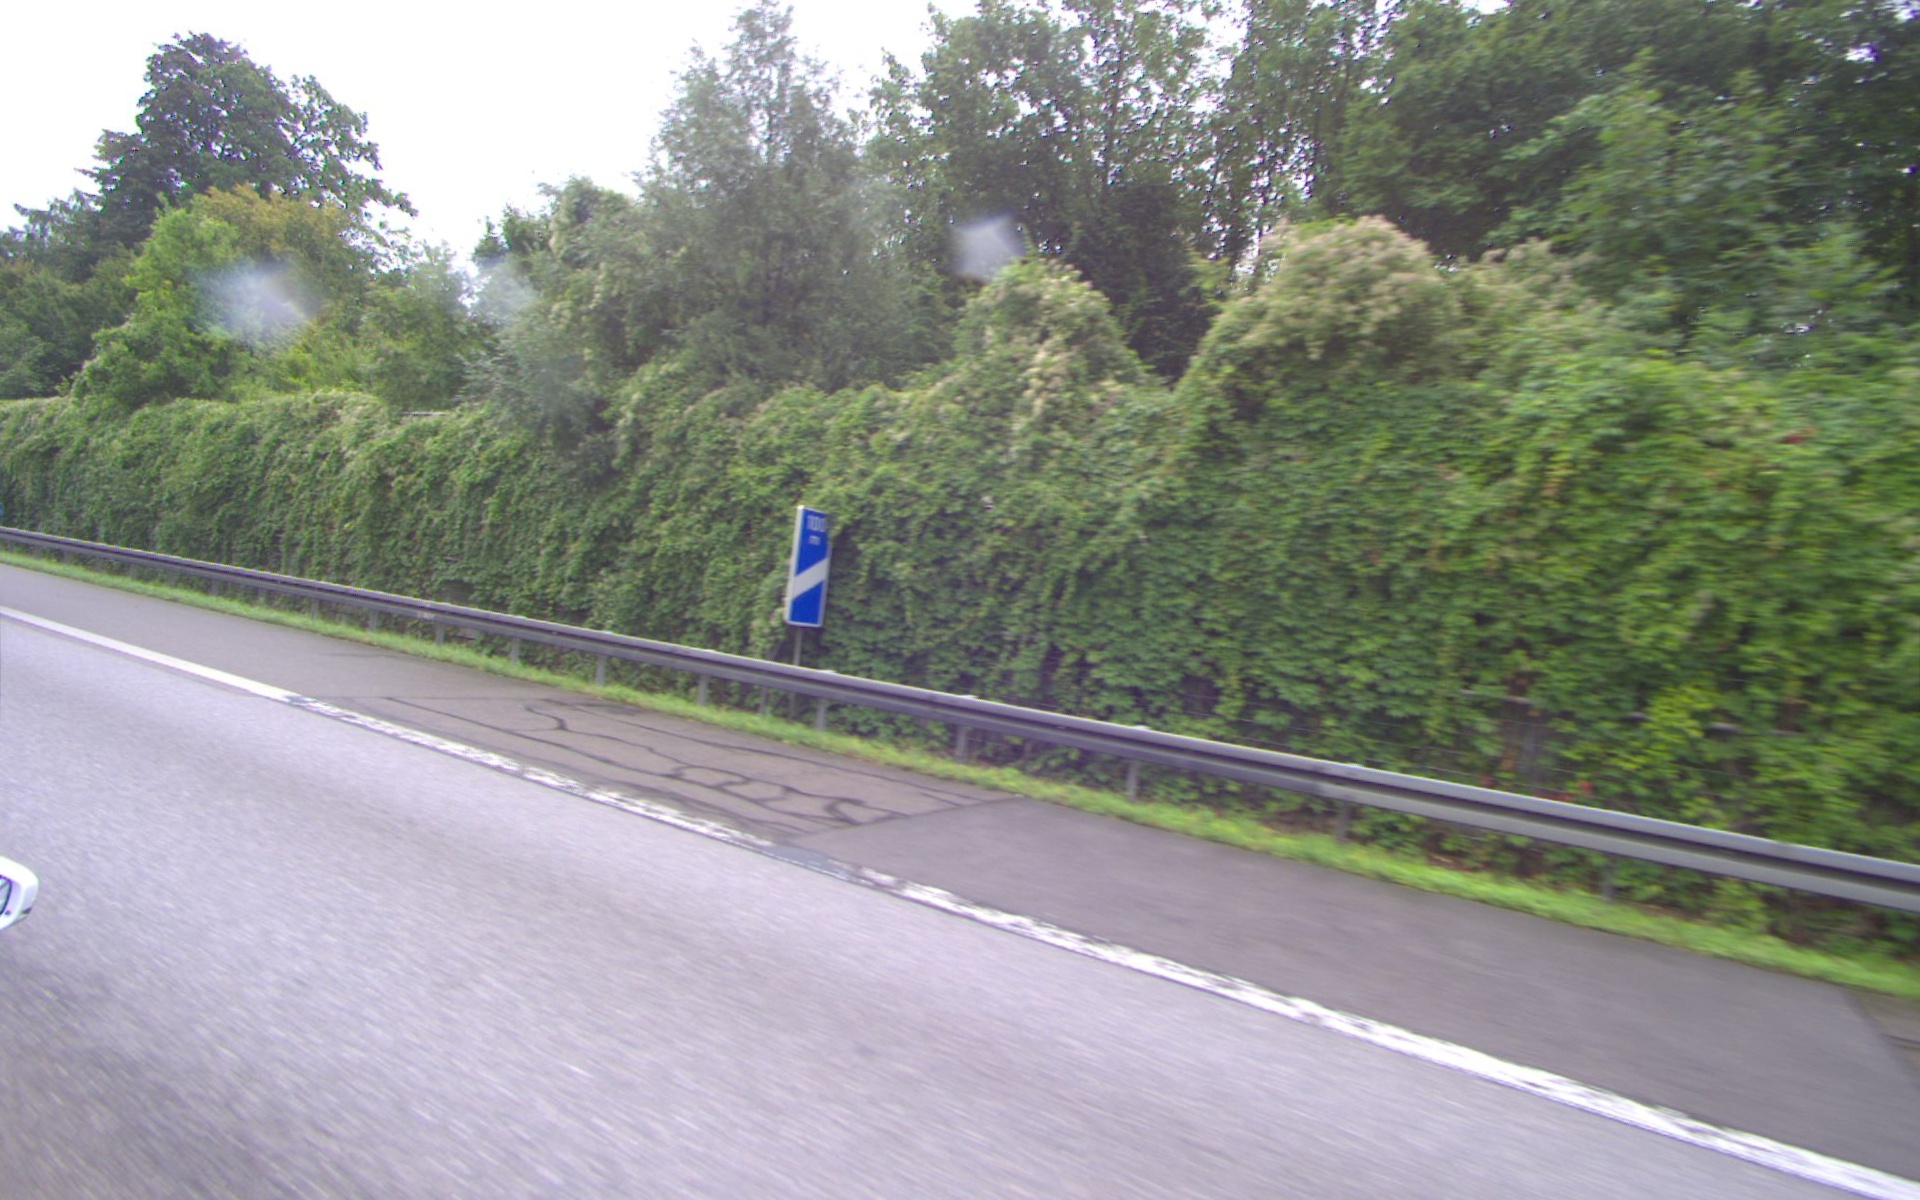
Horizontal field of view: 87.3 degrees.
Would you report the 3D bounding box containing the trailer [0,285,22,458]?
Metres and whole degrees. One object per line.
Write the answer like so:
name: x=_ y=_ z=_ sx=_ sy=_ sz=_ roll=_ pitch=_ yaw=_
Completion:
trailer: x=-17.968 y=-2.565 z=14.635 sx=12.912 sy=3.985 sz=2.673 roll=6 pitch=-1 yaw=32
